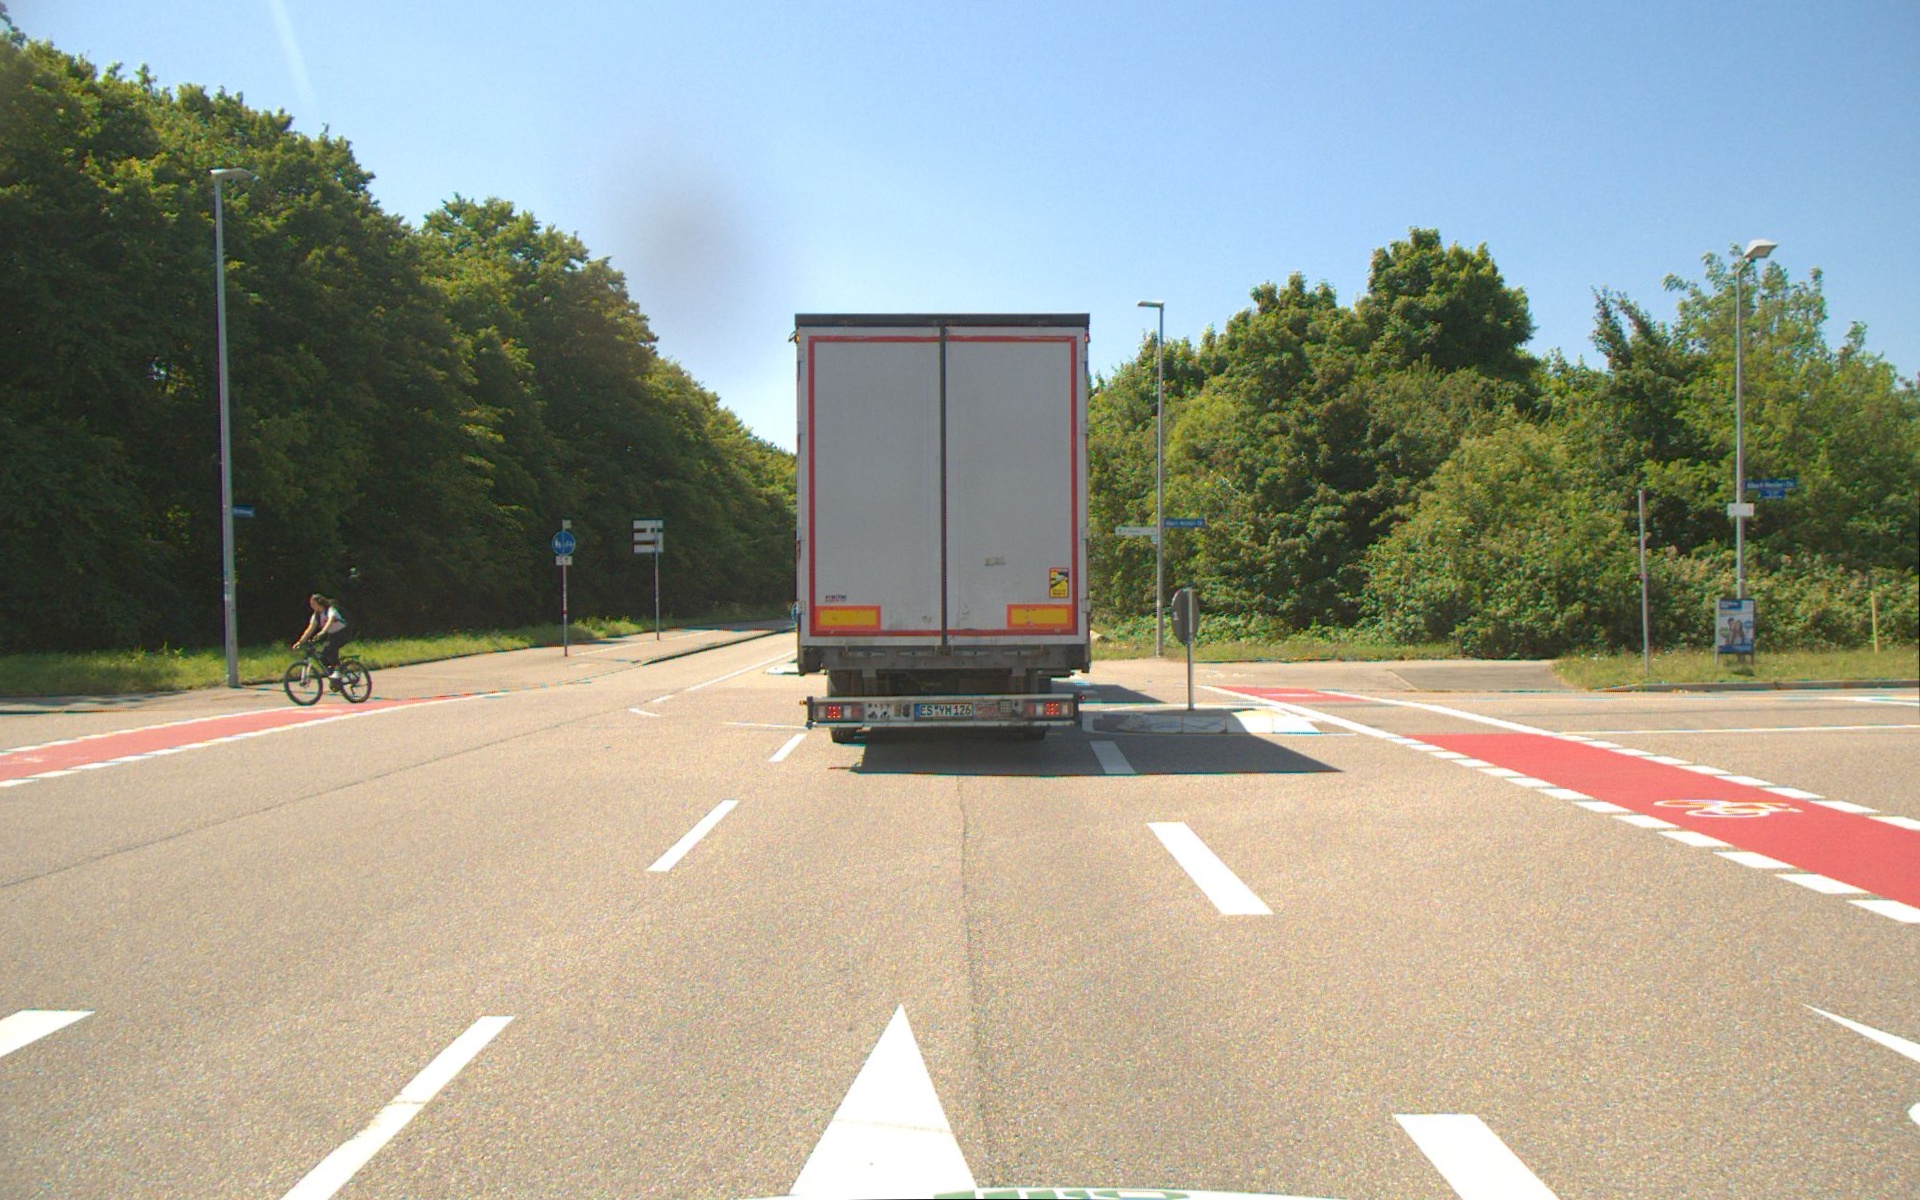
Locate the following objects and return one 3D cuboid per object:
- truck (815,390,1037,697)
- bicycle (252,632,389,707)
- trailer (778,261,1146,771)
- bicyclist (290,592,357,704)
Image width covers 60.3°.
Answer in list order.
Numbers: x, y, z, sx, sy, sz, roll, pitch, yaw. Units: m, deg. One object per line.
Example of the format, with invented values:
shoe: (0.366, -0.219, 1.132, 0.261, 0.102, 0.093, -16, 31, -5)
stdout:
truck: (-0.686, -0.780, 26.382, 3.016, 4.141, 7.953, 0, 0, -3)
bicycle: (-10.117, 1.077, 26.228, 0.657, 1.073, 2.040, 1, 1, 32)
trailer: (-0.248, -0.712, 18.424, 3.016, 4.141, 9.802, 0, 0, -3)
bicyclist: (-10.098, 0.751, 26.246, 0.653, 1.735, 0.767, 1, 0, 33)
